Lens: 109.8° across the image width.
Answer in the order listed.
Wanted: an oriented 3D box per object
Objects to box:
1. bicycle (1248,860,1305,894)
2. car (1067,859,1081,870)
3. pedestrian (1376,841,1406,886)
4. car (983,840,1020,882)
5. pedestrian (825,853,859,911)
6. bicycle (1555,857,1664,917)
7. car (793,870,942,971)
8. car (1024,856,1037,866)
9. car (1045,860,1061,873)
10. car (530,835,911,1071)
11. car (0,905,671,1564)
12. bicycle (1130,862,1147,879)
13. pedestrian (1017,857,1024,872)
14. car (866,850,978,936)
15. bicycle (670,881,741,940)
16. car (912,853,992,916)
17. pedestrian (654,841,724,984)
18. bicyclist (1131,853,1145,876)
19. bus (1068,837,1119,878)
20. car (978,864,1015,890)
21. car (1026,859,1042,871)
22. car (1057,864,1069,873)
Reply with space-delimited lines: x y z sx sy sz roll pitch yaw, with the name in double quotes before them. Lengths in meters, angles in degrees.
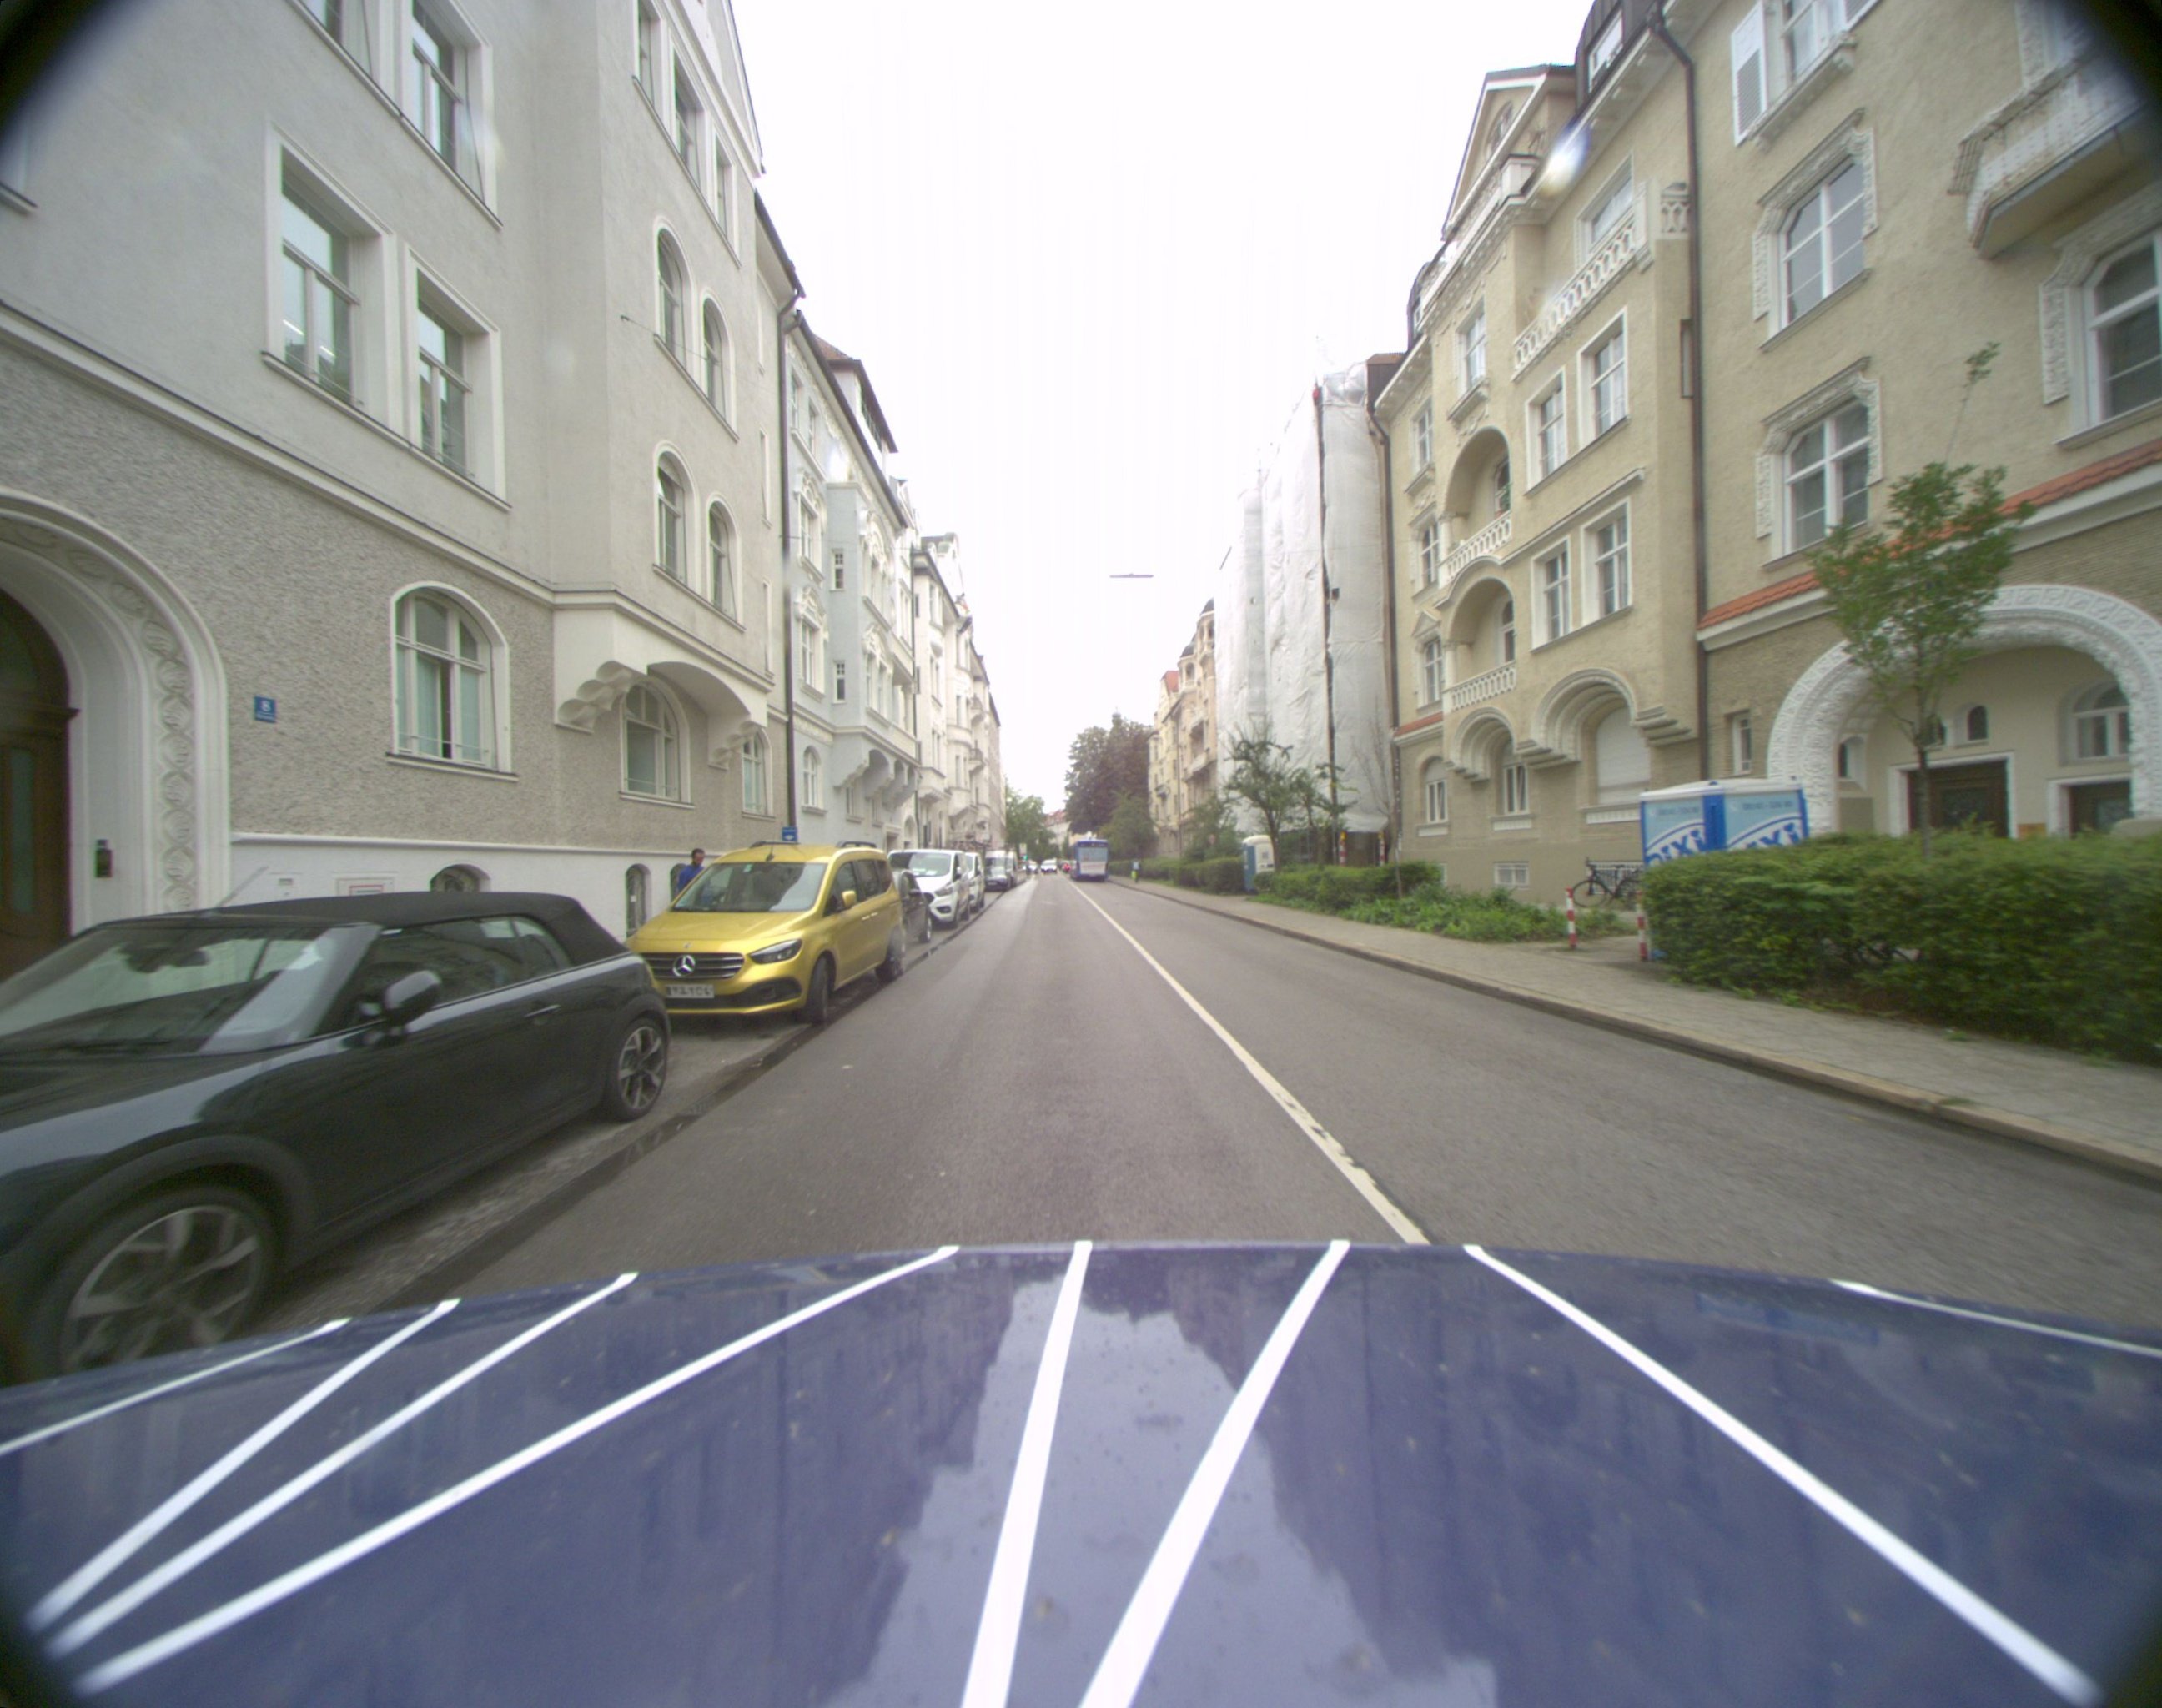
"bicycle" 7.273 0.861 28.361 1.864 1.071 0.690 -6 0 0
"car" -0.887 1.390 101.707 1.724 1.398 4.001 -1 0 2
"pedestrian" 12.289 0.361 30.137 0.771 1.736 0.773 -3 0 -4
"car" -5.248 0.466 50.887 2.082 2.672 5.444 0 0 -2
"pedestrian" -7.996 0.921 25.419 0.854 1.892 0.746 -1 0 1
"bicycle" 11.500 0.684 16.638 0.823 1.199 2.077 -3 0 -2
"car" -3.742 1.087 13.994 1.638 1.505 3.885 -2 0 -1
"car" -8.292 1.085 124.910 1.724 1.622 4.001 -1 0 2
"car" -3.682 1.600 100.399 1.919 1.648 4.602 -1 0 1
"car" -3.481 0.826 8.539 1.998 1.907 4.571 -1 0 1
"car" -3.574 1.064 3.136 1.717 1.436 3.827 -1 0 -1
"bicycle" 3.844 1.065 51.070 0.770 1.075 2.049 -3 0 -4
"pedestrian" -7.506 1.329 93.848 0.826 1.849 0.820 -2 0 -3
"car" -3.932 0.891 19.676 1.999 1.907 4.885 -1 0 -2
"bicycle" -8.030 1.177 16.340 0.668 1.126 1.722 -1 0 -1
"car" -4.260 0.946 25.881 1.999 1.907 4.877 -1 0 -2
"pedestrian" -5.685 0.831 11.057 0.584 2.002 0.727 -1 0 1
"bicyclist" 3.820 0.722 51.045 0.770 1.484 1.060 -3 0 -4
"bus" 0.794 0.315 67.557 3.180 3.193 18.052 0 0 -3
"car" -4.925 1.298 44.589 1.793 1.399 4.243 -1 0 -2
"car" -6.409 1.480 103.844 1.724 1.622 4.001 -1 0 2
"car" -2.942 2.369 125.715 1.724 1.398 4.001 -1 0 2
